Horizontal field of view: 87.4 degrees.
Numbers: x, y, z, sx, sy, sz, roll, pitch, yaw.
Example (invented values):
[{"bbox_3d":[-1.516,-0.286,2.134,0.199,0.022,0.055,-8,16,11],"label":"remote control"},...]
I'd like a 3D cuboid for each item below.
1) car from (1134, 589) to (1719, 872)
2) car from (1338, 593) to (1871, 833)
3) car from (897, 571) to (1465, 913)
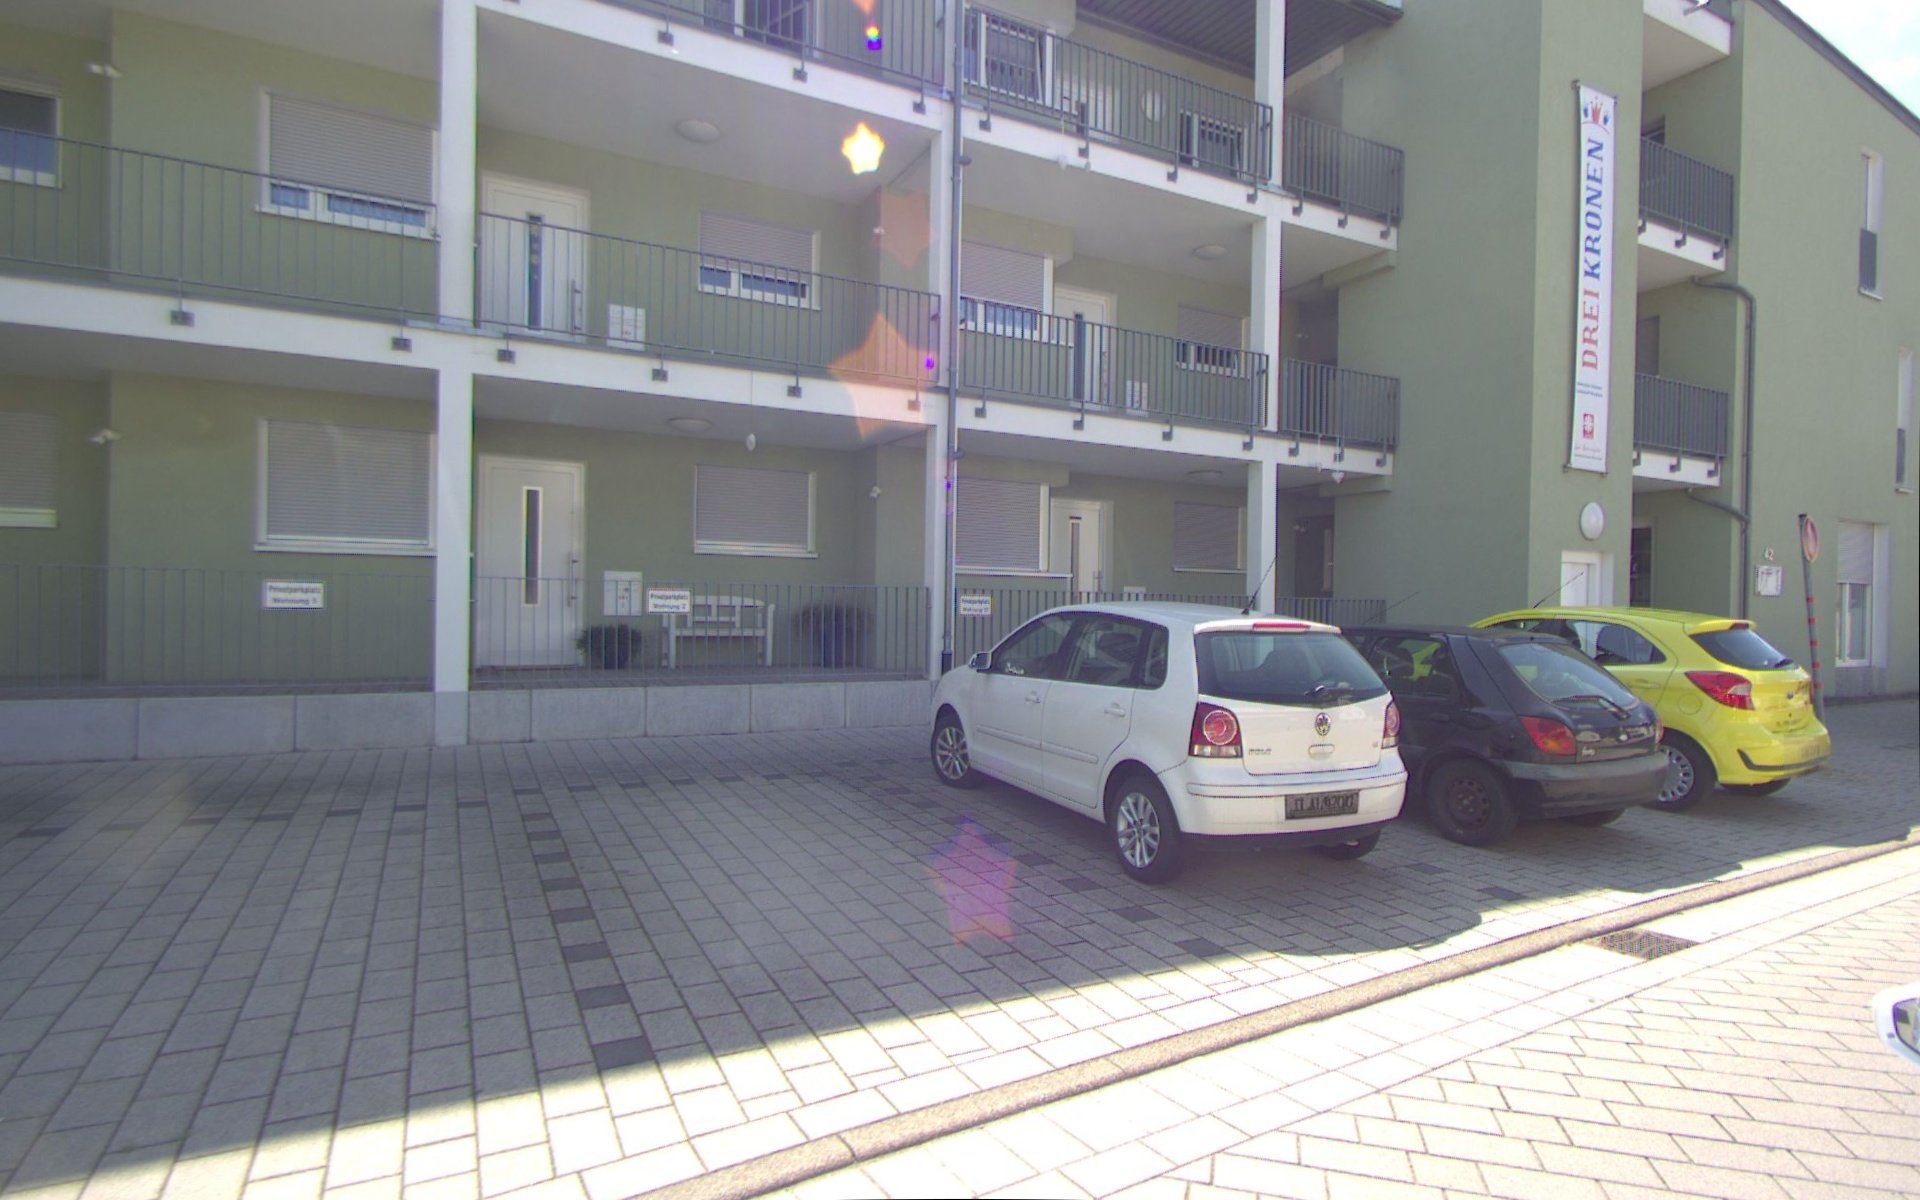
[{"bbox_3d":[3.284,0.752,7.956,1.670,1.461,3.971,1,3,-27],"label":"car"},{"bbox_3d":[5.466,0.795,9.054,1.651,1.546,3.678,1,2,-26],"label":"car"},{"bbox_3d":[1.113,0.638,6.862,1.727,1.523,3.887,1,2,-26],"label":"car"}]
